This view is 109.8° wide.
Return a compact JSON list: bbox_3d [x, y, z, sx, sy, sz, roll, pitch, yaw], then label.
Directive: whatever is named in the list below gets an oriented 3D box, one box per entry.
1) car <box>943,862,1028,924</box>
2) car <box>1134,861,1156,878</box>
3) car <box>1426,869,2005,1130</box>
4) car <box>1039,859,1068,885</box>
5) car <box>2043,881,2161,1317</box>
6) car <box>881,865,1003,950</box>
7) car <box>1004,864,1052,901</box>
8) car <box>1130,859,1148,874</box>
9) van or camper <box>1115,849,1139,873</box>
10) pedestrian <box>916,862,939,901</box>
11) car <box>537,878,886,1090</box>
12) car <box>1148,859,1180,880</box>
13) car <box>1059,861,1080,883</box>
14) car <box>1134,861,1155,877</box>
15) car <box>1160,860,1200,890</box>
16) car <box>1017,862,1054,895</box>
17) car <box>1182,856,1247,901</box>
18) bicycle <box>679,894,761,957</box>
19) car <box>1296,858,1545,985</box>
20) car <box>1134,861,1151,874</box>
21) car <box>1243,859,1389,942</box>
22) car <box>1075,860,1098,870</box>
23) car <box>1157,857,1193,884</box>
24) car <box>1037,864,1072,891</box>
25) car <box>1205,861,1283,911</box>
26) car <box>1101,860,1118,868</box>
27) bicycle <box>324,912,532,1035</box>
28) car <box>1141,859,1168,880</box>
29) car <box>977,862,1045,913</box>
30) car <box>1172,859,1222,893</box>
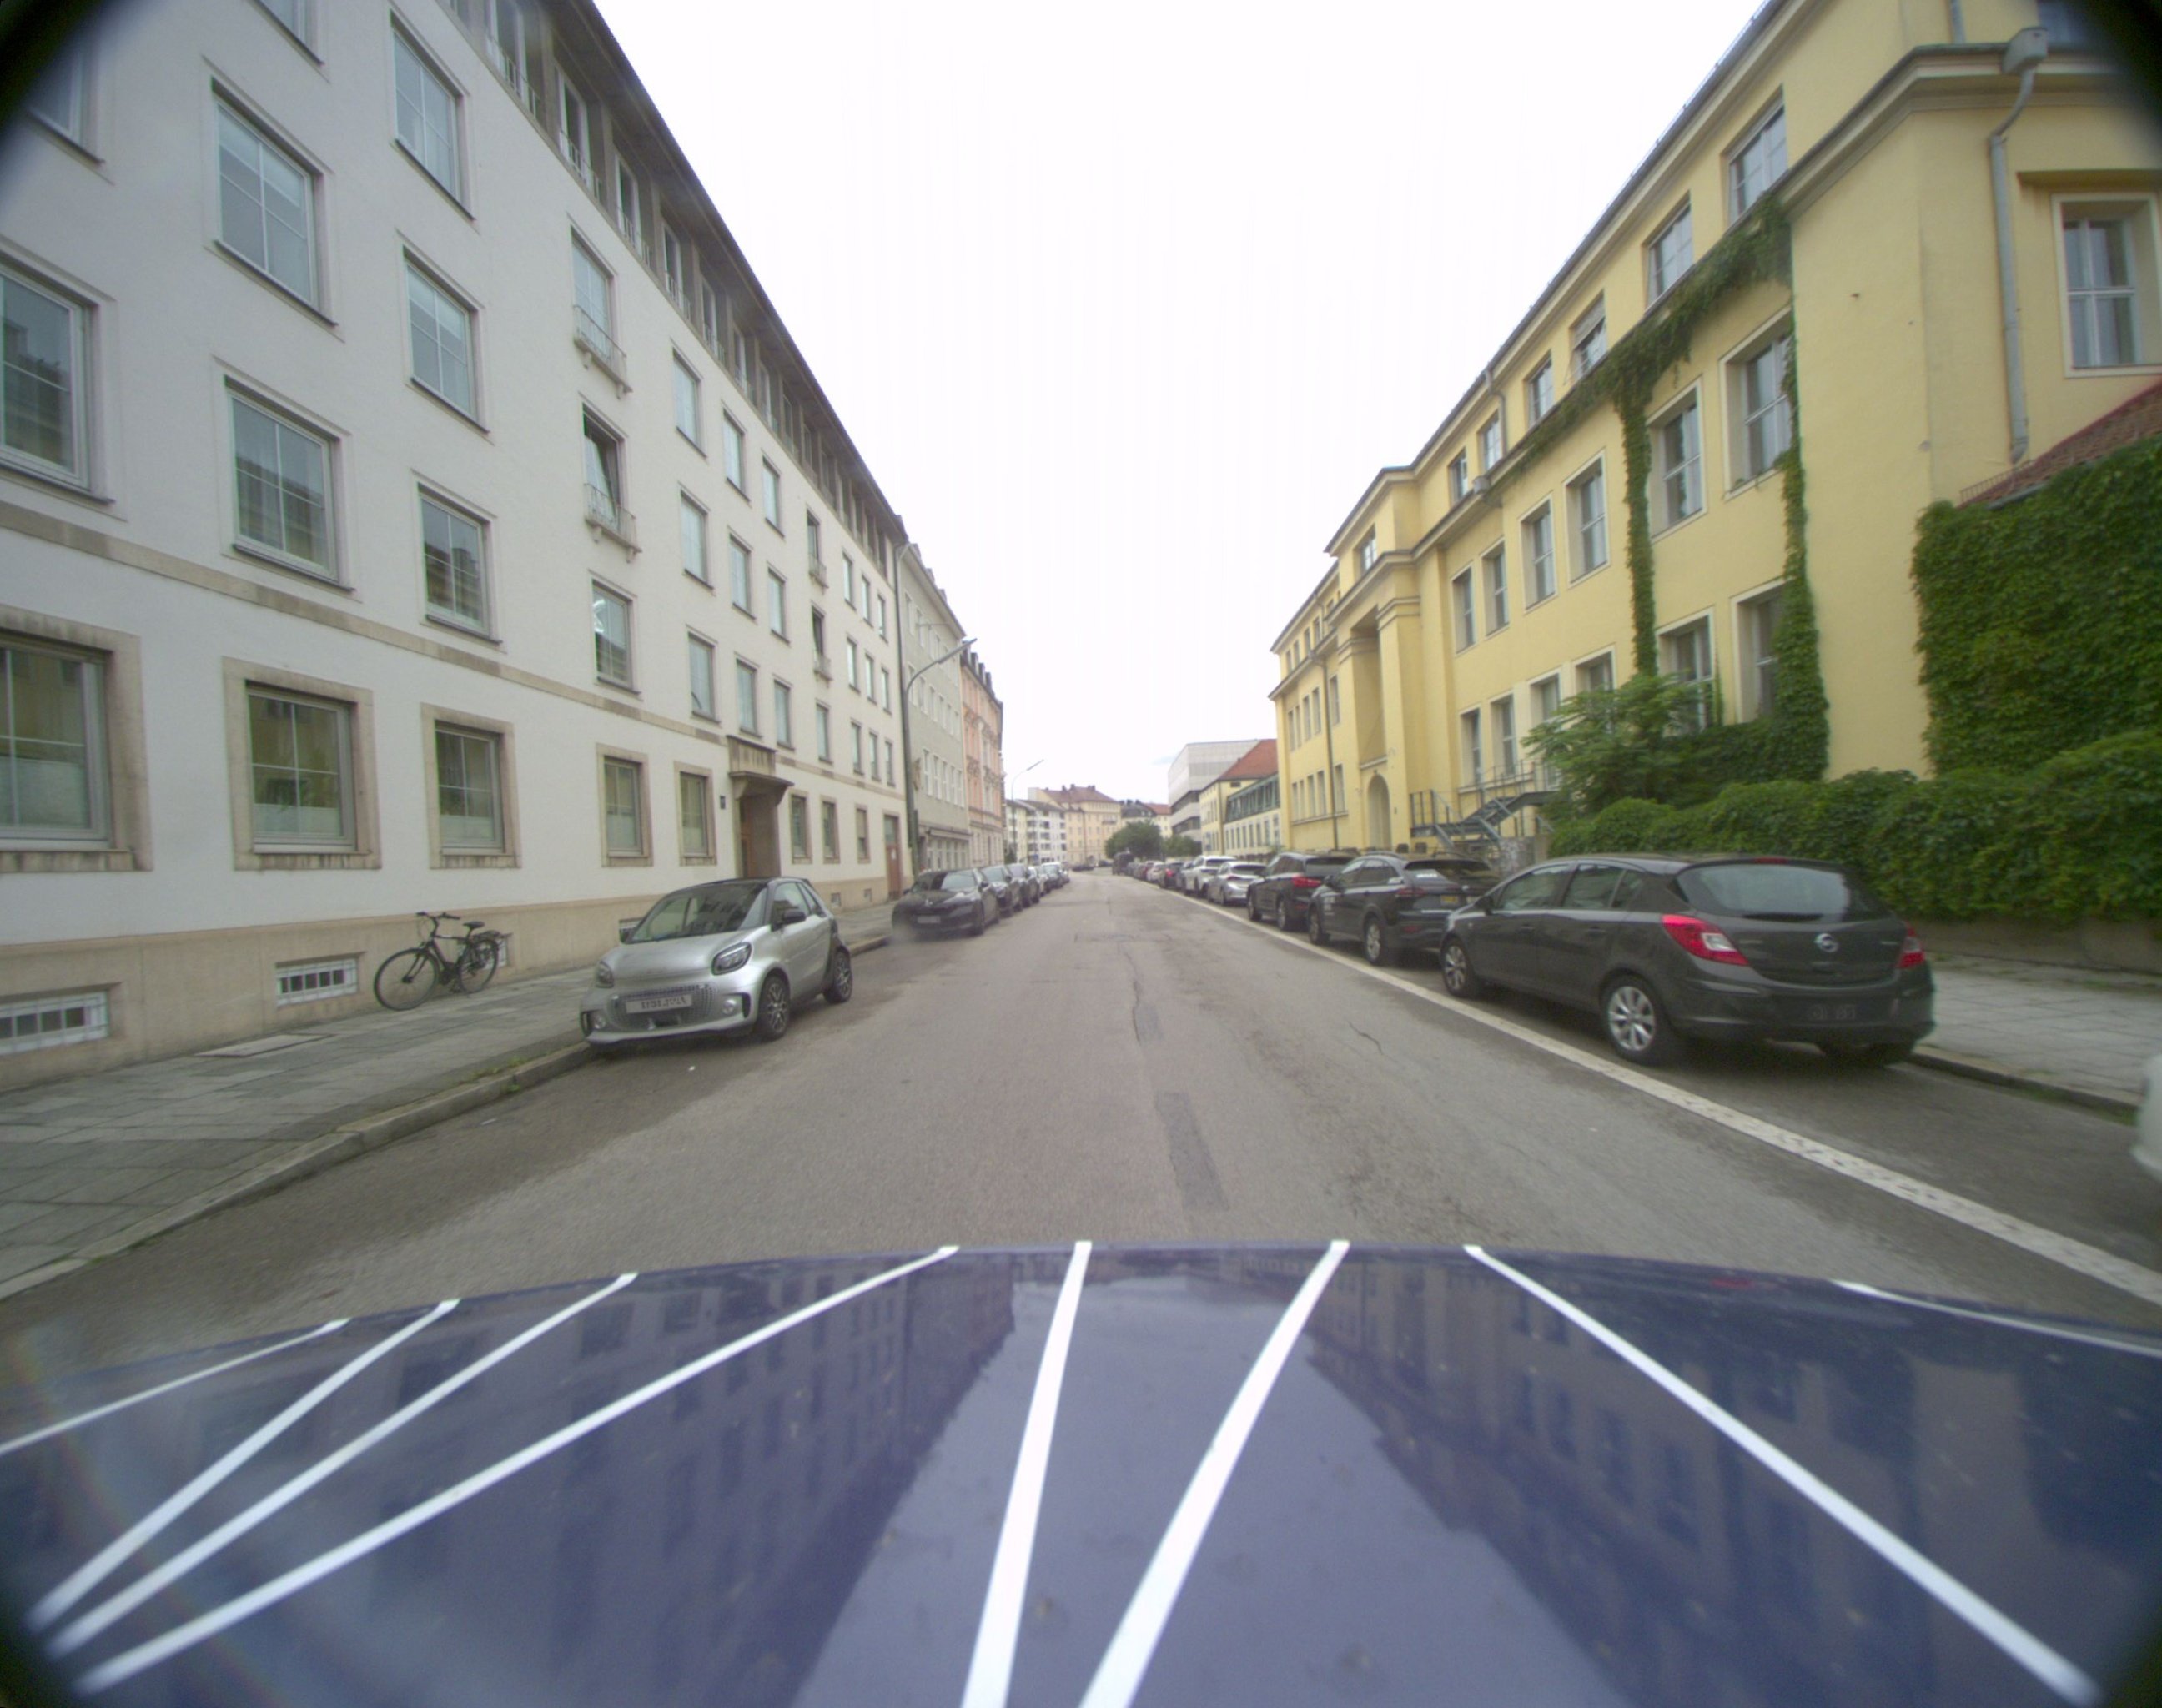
[{"bbox_3d":[-2.814,1.115,23.303,1.783,1.575,4.272,-5,0,2],"label":"car"},{"bbox_3d":[5.288,1.276,63.160,1.678,1.396,3.992,0,0,3],"label":"car"},{"bbox_3d":[4.536,0.877,6.326,1.582,1.447,3.904,0,0,1],"label":"car"},{"bbox_3d":[-2.108,1.383,59.406,1.845,1.775,4.896,-5,-1,2],"label":"car"},{"bbox_3d":[4.475,0.838,1.049,1.582,1.483,3.730,0,0,1],"label":"car"},{"bbox_3d":[-3.086,1.136,17.952,1.860,1.535,4.816,-5,0,0],"label":"car"},{"bbox_3d":[-2.430,1.306,35.626,1.696,1.455,4.084,-5,0,2],"label":"car"},{"bbox_3d":[6.377,1.349,83.691,1.700,1.552,3.867,0,0,-1],"label":"car"},{"bbox_3d":[5.673,0.885,94.517,2.142,2.791,5.570,-2,0,-6],"label":"van or camper"},{"bbox_3d":[-6.562,1.162,32.519,0.736,1.616,0.828,-1,0,2],"label":"pedestrian"},{"bbox_3d":[-3.598,1.156,8.298,1.676,1.525,3.882,-6,0,2],"label":"car"},{"bbox_3d":[5.713,1.066,52.722,1.679,1.389,3.997,0,0,-1],"label":"car"},{"bbox_3d":[-0.920,1.496,64.426,1.608,1.632,3.631,-4,0,0],"label":"car"},{"bbox_3d":[5.652,1.337,68.122,1.798,1.396,4.129,0,0,3],"label":"car"},{"bbox_3d":[5.168,1.085,40.104,1.684,1.487,3.986,0,0,1],"label":"car"},{"bbox_3d":[-2.423,1.294,41.593,1.696,1.574,4.083,-5,0,-1],"label":"car"},{"bbox_3d":[5.164,0.908,29.958,1.684,1.624,4.356,1,0,-1],"label":"car"},{"bbox_3d":[-7.468,1.453,15.848,0.660,1.120,2.028,-2,0,2],"label":"bicycle"},{"bbox_3d":[4.673,0.830,11.212,1.786,1.529,4.149,0,0,0],"label":"car"},{"bbox_3d":[6.383,1.388,78.852,1.699,1.396,4.001,0,0,3],"label":"car"},{"bbox_3d":[4.818,0.883,16.241,1.786,1.529,4.195,1,0,0],"label":"car"},{"bbox_3d":[1.026,2.223,150.047,4.248,1.849,1.999,-2,0,-4],"label":"car"},{"bbox_3d":[5.588,0.986,45.625,1.727,1.518,4.087,1,0,1],"label":"car"},{"bbox_3d":[-1.657,1.463,48.372,1.696,1.442,4.084,-5,0,3],"label":"car"},{"bbox_3d":[5.171,0.963,24.545,1.684,1.417,3.895,1,0,1],"label":"car"},{"bbox_3d":[6.992,2.518,186.268,3.996,1.849,2.000,-2,0,2],"label":"car"},{"bbox_3d":[-7.709,1.357,9.130,0.660,1.156,2.028,-2,0,2],"label":"bicycle"},{"bbox_3d":[5.595,1.169,58.336,1.679,1.557,3.997,0,0,-1],"label":"car"},{"bbox_3d":[-2.499,1.164,28.137,1.782,1.575,4.331,-5,-1,3],"label":"car"},{"bbox_3d":[5.359,0.969,35.481,1.684,1.496,3.973,0,0,-1],"label":"car"}]
